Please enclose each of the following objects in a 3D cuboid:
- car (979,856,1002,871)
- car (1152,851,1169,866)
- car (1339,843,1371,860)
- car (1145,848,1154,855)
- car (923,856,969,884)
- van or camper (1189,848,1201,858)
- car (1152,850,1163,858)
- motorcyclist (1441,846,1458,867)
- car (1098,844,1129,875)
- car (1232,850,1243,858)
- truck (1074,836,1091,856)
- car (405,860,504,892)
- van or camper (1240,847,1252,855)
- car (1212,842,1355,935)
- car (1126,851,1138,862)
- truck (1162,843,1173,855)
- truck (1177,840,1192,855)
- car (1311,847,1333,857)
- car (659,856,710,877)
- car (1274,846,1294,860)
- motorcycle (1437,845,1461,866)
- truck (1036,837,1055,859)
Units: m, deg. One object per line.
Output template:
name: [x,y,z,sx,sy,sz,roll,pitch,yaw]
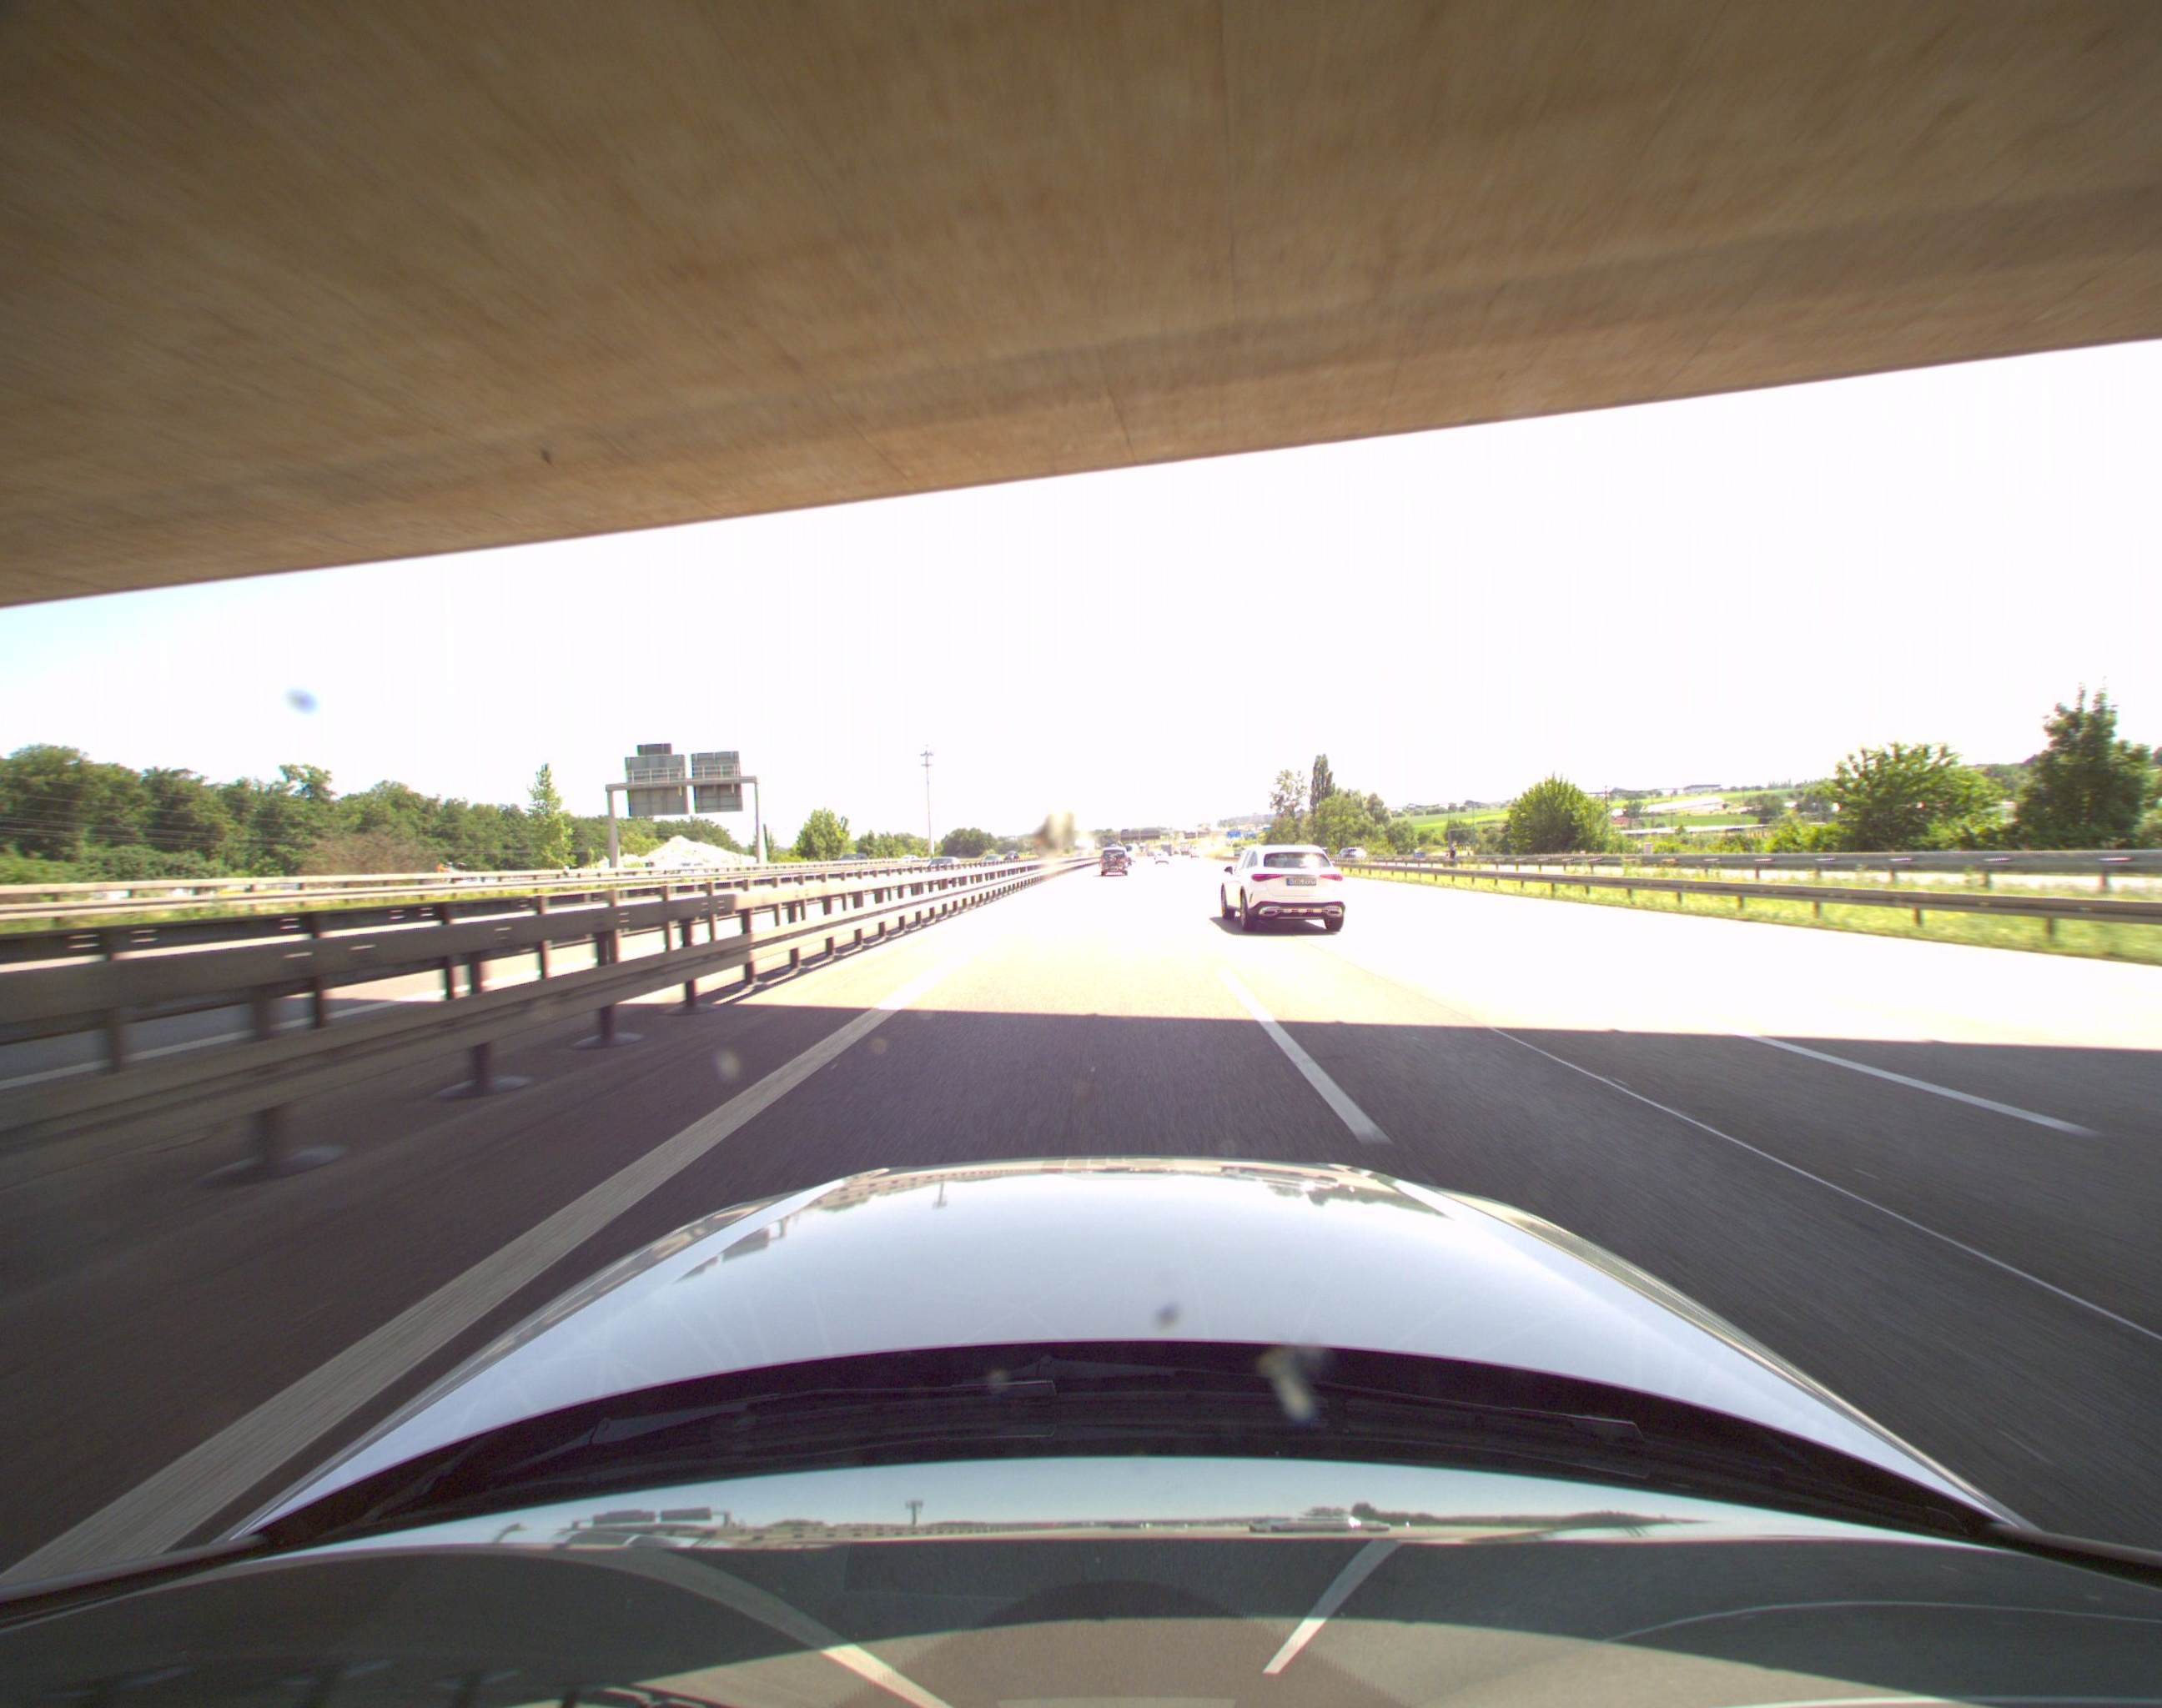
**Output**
car: [-9.433,0.956,85.307,1.651,1.464,4.448,0,0,3]
car: [10.057,0.550,103.399,1.919,1.919,4.520,0,0,2]
car: [25.499,-0.224,76.012,1.693,1.575,4.129,0,0,1]
car: [18.395,-0.635,218.569,2.174,2.003,4.009,0,0,8]
car: [-7.496,0.860,45.497,1.623,1.411,4.104,-1,0,4]
van or camper: [23.716,-0.243,169.366,2.145,2.013,4.311,0,0,6]
car: [14.515,-0.047,153.905,1.972,1.473,4.008,-1,0,7]
motorcyclist: [24.124,0.175,53.325,0.666,1.366,0.878,0,0,1]
car: [2.161,0.357,53.342,1.919,1.919,4.952,0,0,3]
car: [36.135,-0.002,188.100,1.985,2.013,4.004,0,0,4]
truck: [0.410,-1.708,175.644,2.912,4.344,6.928,0,0,7]
car: [-34.748,1.160,45.358,1.985,1.618,4.326,-1,0,3]
van or camper: [42.975,-0.676,212.338,2.518,2.013,4.465,0,0,4]
car: [4.006,0.616,17.000,1.891,1.647,5.000,0,0,2]
car: [7.364,0.419,117.189,1.567,1.552,3.971,0,0,7]
truck: [22.978,-1.263,216.014,2.687,3.108,10.682,0,0,8]
truck: [33.251,-2.114,260.397,4.014,4.261,11.795,-1,2,11]
car: [31.666,-0.224,107.123,1.694,1.277,3.999,0,0,0]
car: [-32.099,0.965,66.065,1.985,1.618,4.004,-1,0,3]
car: [29.346,-0.117,117.871,1.933,1.923,4.179,0,0,0]
motorcycle: [24.113,0.111,53.384,0.757,1.366,1.870,0,0,1]
truck: [-6.664,-1.114,154.452,2.571,4.115,10.358,-1,0,4]
